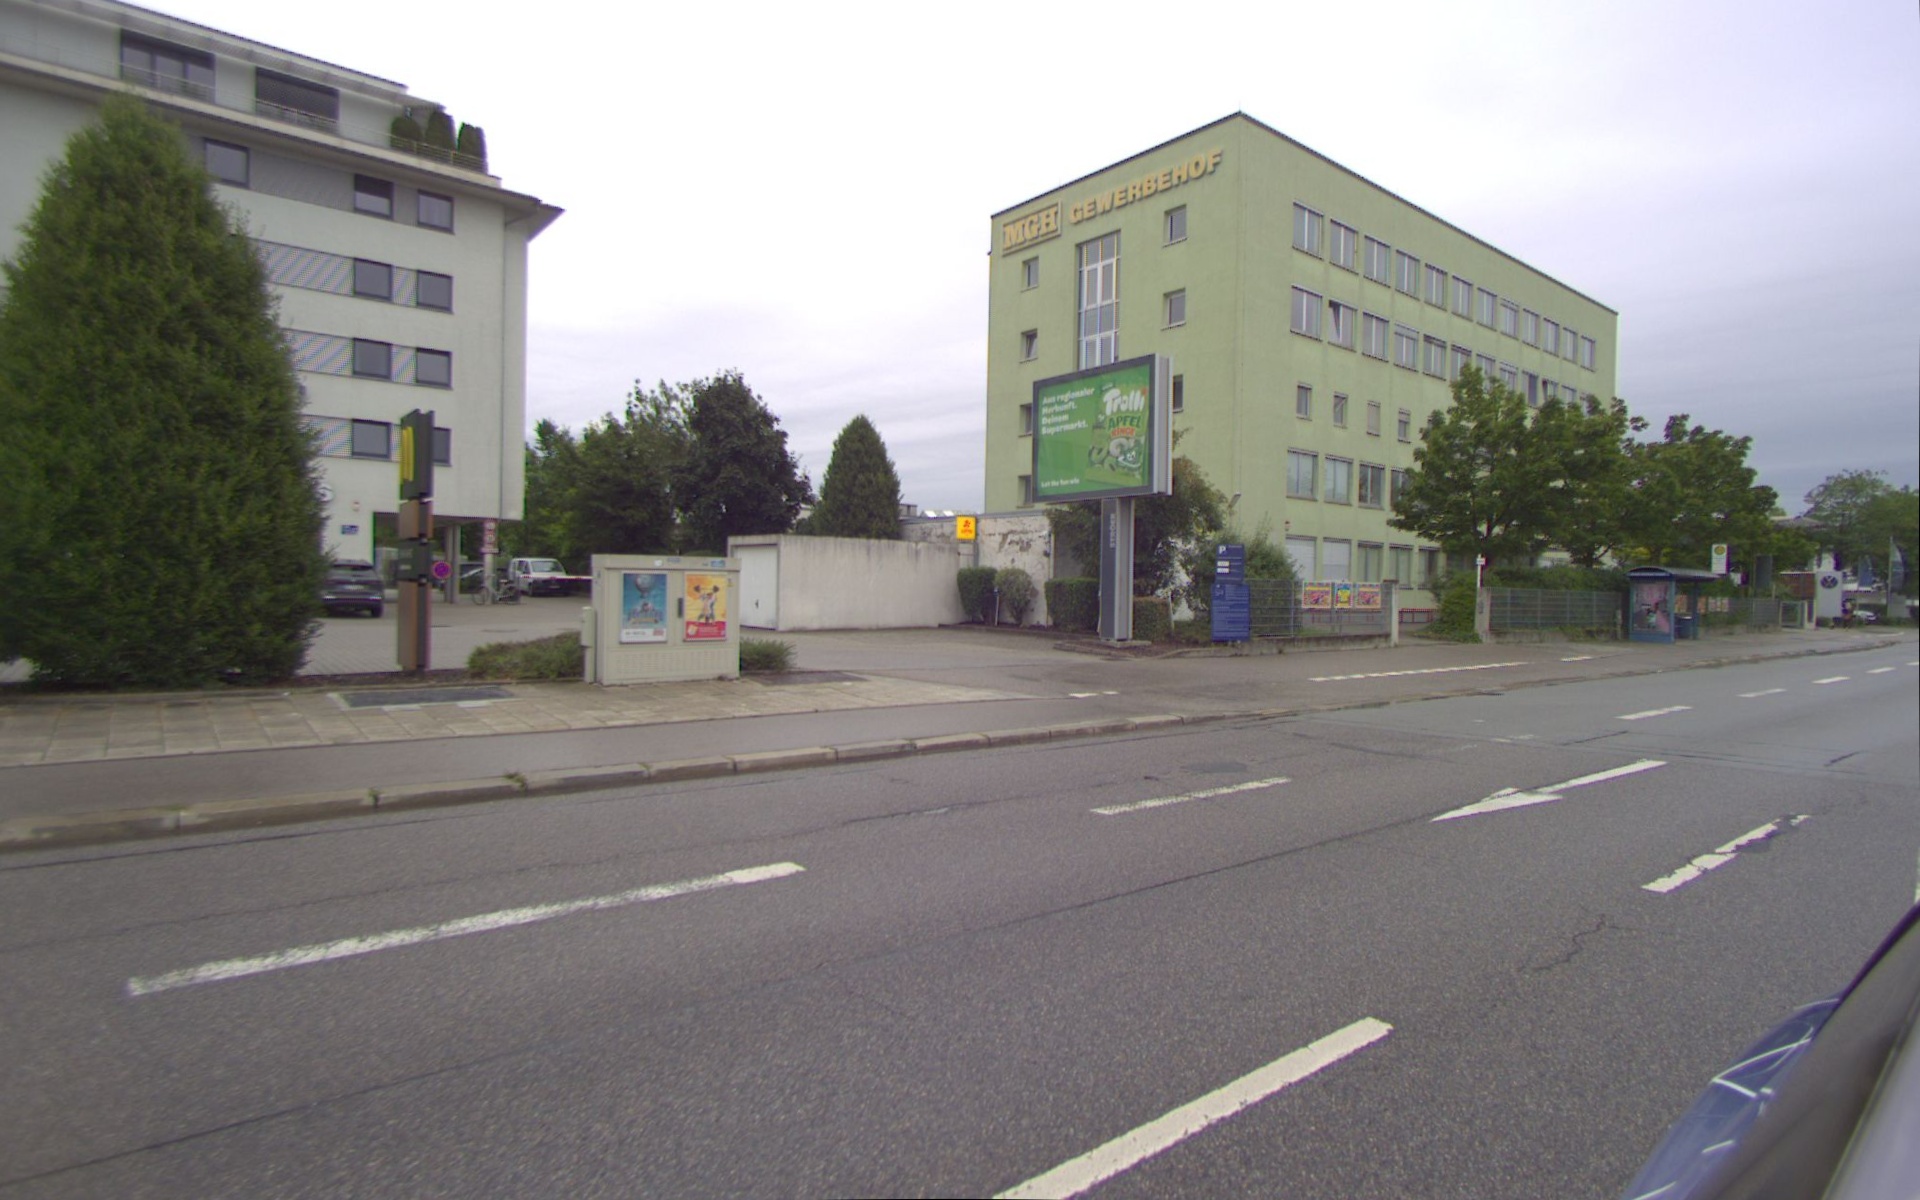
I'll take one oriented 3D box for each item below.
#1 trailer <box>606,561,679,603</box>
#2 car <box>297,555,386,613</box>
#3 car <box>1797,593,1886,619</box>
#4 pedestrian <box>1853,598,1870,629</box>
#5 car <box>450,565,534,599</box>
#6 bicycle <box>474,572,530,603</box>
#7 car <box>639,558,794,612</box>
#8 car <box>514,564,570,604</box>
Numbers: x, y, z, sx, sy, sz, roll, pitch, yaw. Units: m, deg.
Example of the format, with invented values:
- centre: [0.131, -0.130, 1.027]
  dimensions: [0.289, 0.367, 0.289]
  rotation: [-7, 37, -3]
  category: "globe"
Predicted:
- centre: [-13.339, -0.741, 42.456]
  dimensions: [1.606, 1.671, 3.805]
  rotation: [0, 0, -40]
  category: "trailer"
- centre: [-18.483, -0.491, 30.157]
  dimensions: [1.676, 1.607, 3.995]
  rotation: [0, 1, -40]
  category: "car"
- centre: [64.191, 0.405, 73.786]
  dimensions: [4.605, 1.866, 1.783]
  rotation: [0, 0, 29]
  category: "car"
- centre: [54.112, 0.814, 60.763]
  dimensions: [0.676, 1.844, 0.682]
  rotation: [1, -1, -40]
  category: "pedestrian"
- centre: [-25.302, -0.949, 54.763]
  dimensions: [3.924, 1.731, 1.656]
  rotation: [0, 0, -35]
  category: "car"
- centre: [-16.841, -0.460, 37.262]
  dimensions: [0.447, 1.130, 1.847]
  rotation: [0, 0, 41]
  category: "bicycle"
- centre: [-6.937, -0.407, 28.972]
  dimensions: [3.928, 1.457, 1.829]
  rotation: [0, 0, -39]
  category: "car"
- centre: [-21.098, -0.775, 50.996]
  dimensions: [1.690, 1.967, 3.999]
  rotation: [0, 0, -36]
  category: "car"
